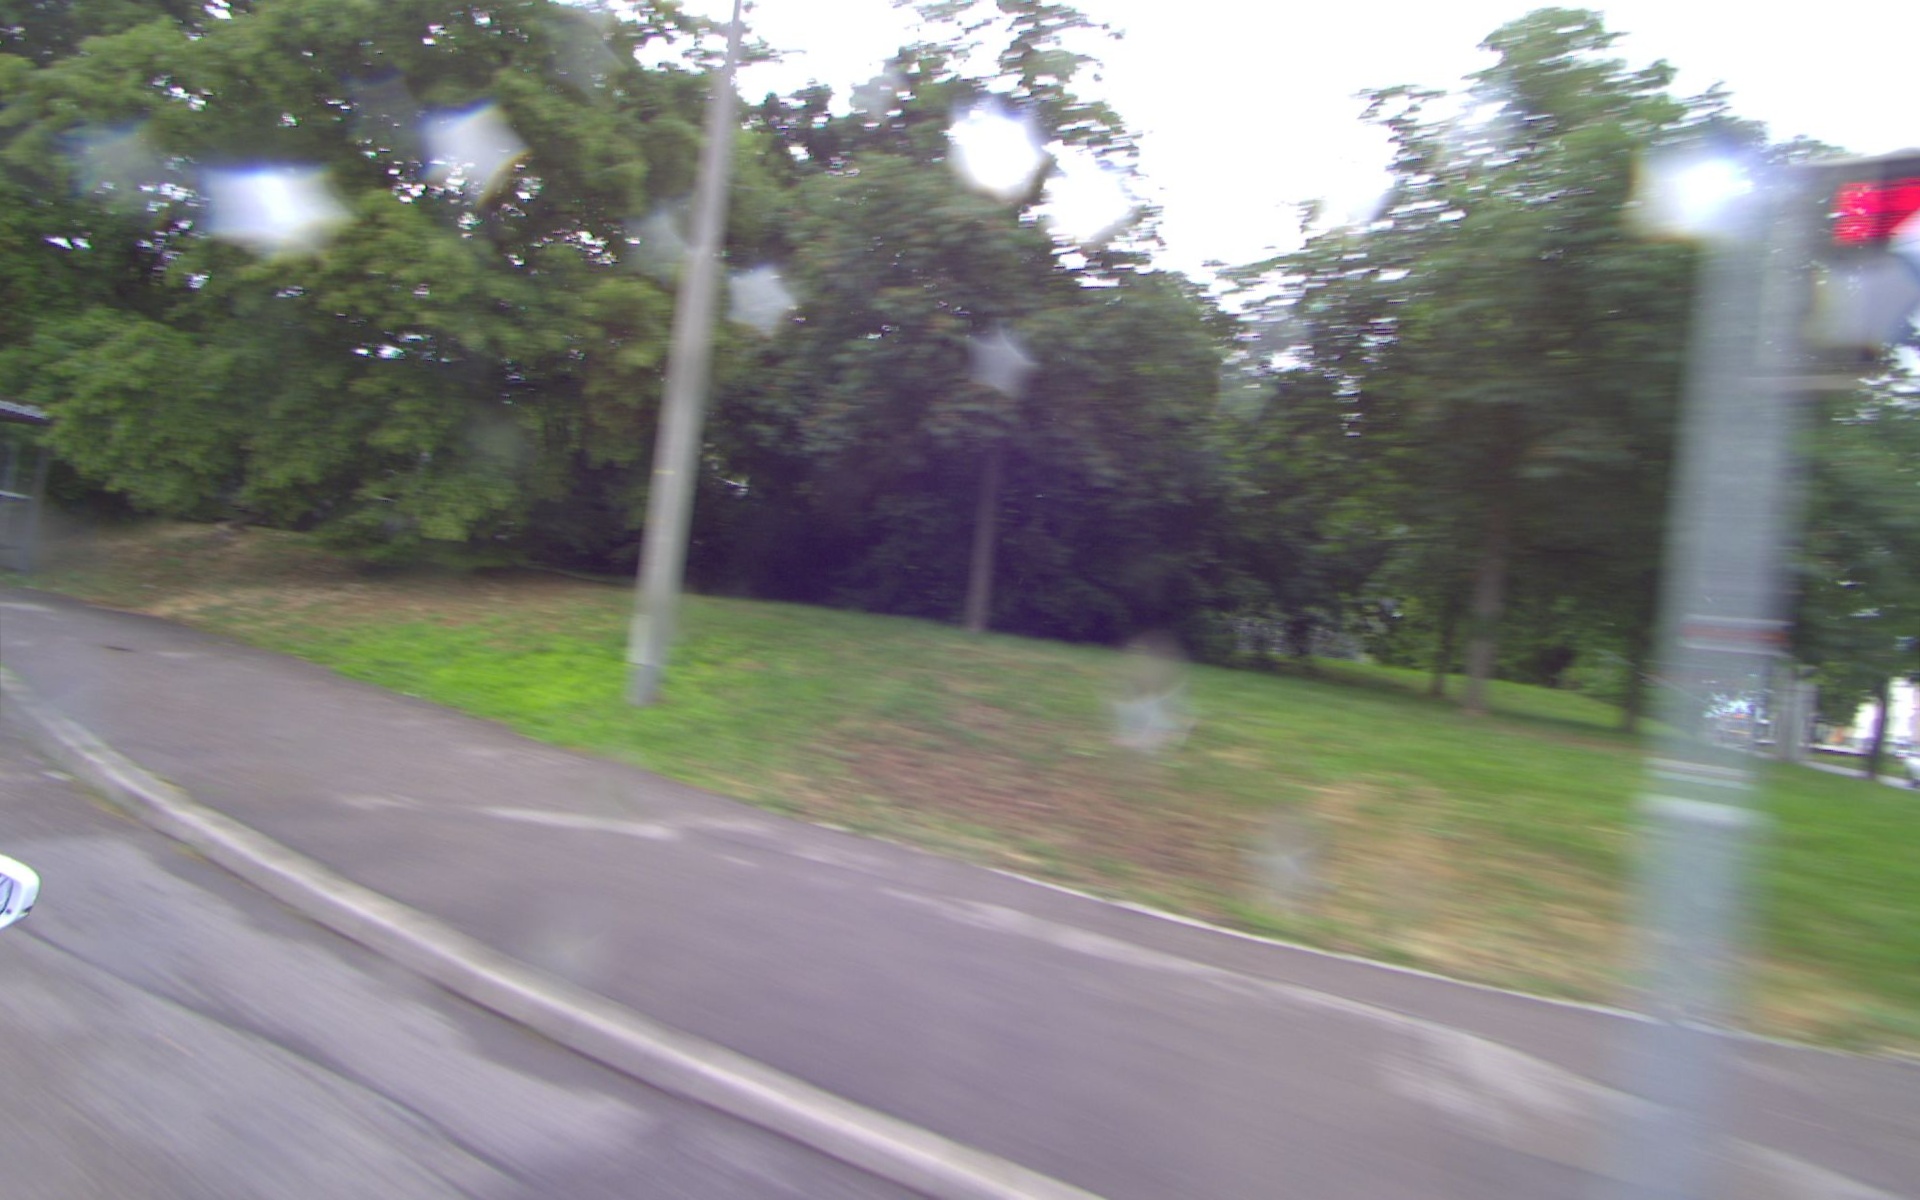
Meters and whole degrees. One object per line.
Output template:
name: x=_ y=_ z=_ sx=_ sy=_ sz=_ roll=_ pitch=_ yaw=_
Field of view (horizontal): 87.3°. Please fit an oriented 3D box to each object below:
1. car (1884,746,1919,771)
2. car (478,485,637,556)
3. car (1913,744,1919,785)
car: x=76.603 y=12.877 z=81.361 sx=1.679 sy=1.540 sz=3.788 roll=9 pitch=0 yaw=28
car: x=-12.737 y=-2.494 z=32.000 sx=1.777 sy=1.804 sz=4.300 roll=9 pitch=4 yaw=42
car: x=34.147 y=5.827 z=34.076 sx=1.578 sy=1.418 sz=3.788 roll=6 pitch=-1 yaw=27
